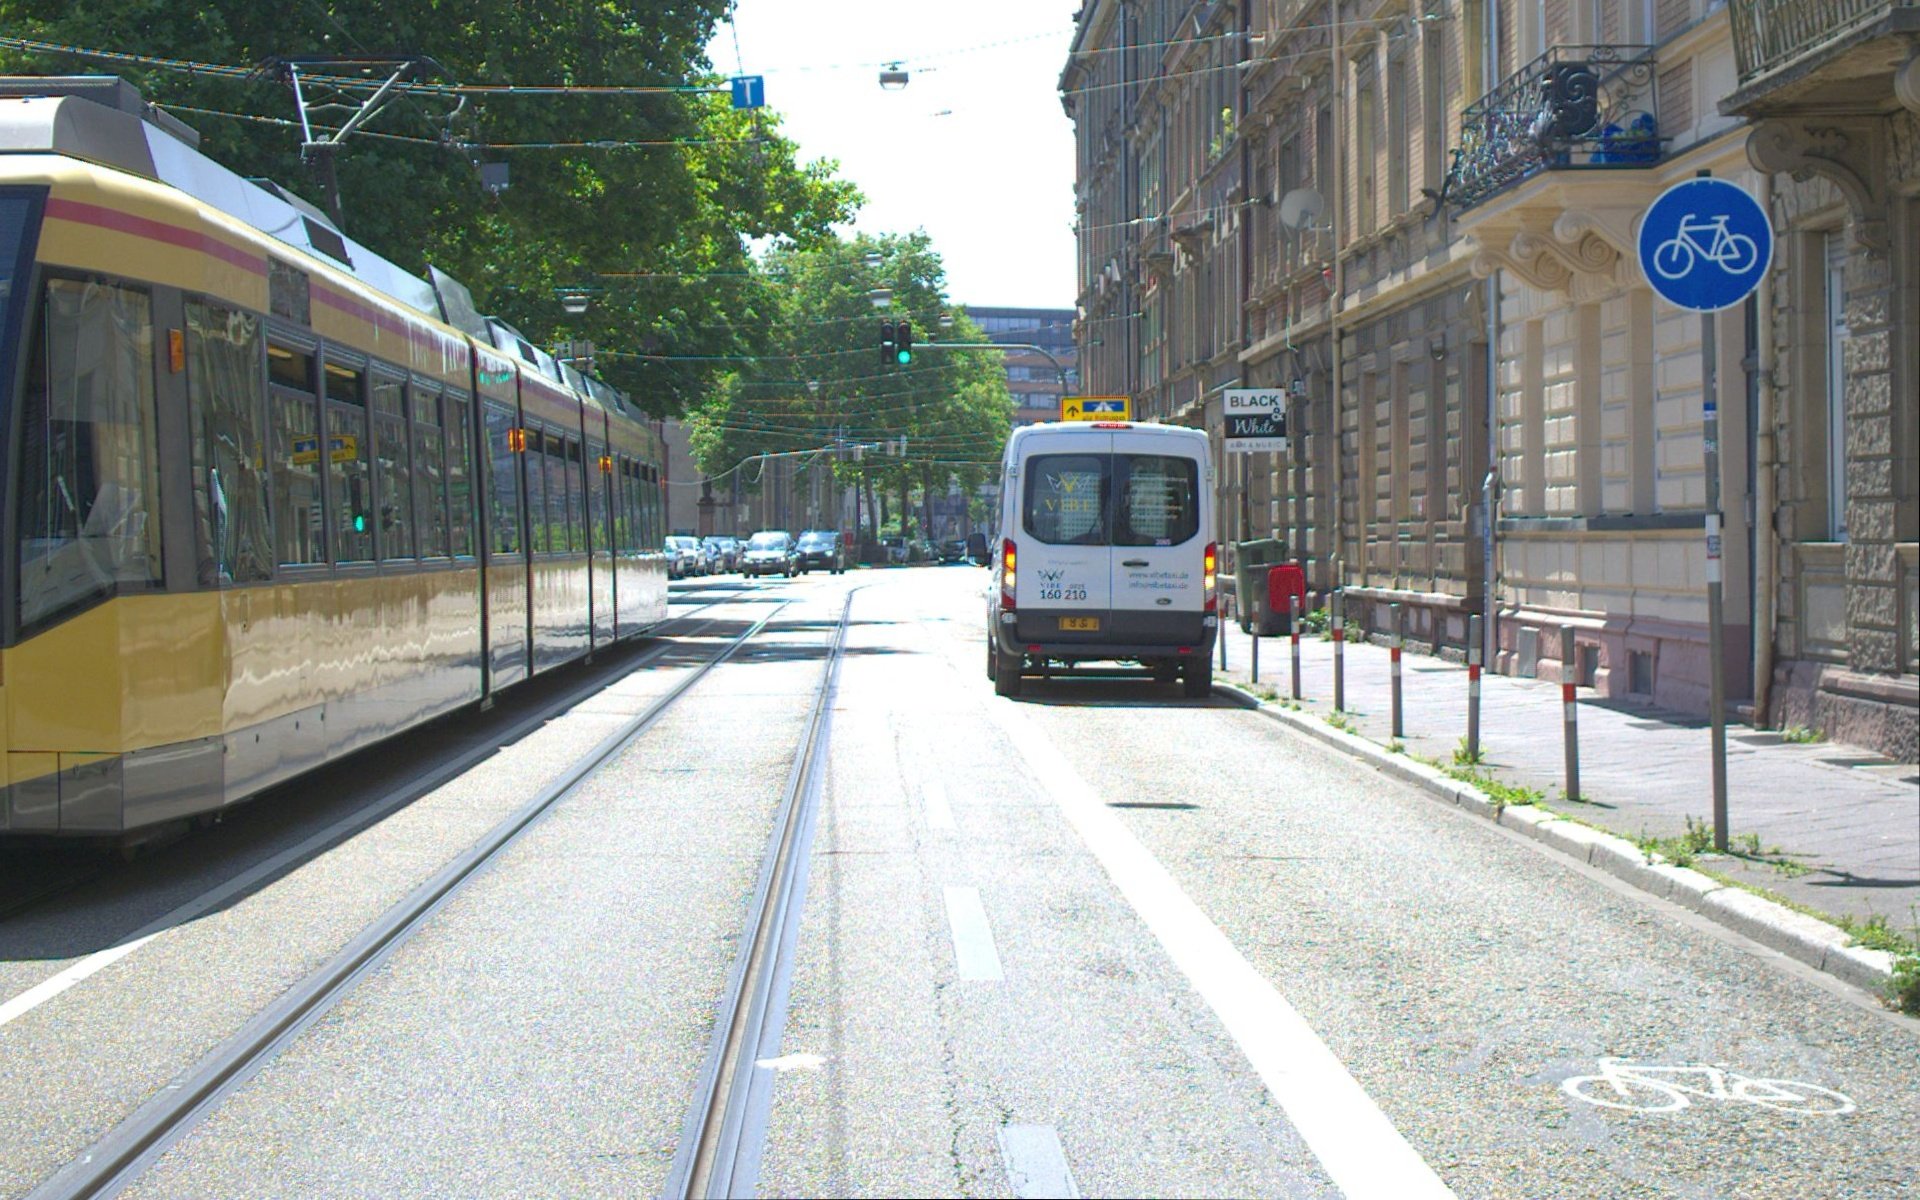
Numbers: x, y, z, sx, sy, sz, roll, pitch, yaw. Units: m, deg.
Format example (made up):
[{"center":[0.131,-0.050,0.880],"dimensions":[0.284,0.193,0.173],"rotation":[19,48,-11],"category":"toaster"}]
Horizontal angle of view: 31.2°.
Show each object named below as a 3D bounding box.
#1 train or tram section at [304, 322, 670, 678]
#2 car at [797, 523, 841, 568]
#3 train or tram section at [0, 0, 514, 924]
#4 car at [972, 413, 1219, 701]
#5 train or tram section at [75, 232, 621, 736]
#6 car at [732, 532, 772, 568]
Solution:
[{"center":[-5.339,-1.153,41.427],"dimensions":[2.960,3.568,13.425],"rotation":[0,1,-2],"category":"train or tram section"},{"center":[-5.787,-2.247,141.202],"dimensions":[1.673,1.853,4.001],"rotation":[0,1,-4],"category":"car"},{"center":[-4.612,-0.754,19.008],"dimensions":[2.960,3.568,13.425],"rotation":[0,1,-2],"category":"train or tram section"},{"center":[1.191,-0.429,32.719],"dimensions":[2.067,2.492,5.454],"rotation":[0,1,0],"category":"car"},{"center":[-5.013,-0.970,31.184],"dimensions":[2.960,3.568,13.425],"rotation":[0,1,-2],"category":"train or tram section"},{"center":[-8.114,-1.959,134.063],"dimensions":[1.528,1.404,3.490],"rotation":[0,1,-4],"category":"car"}]
